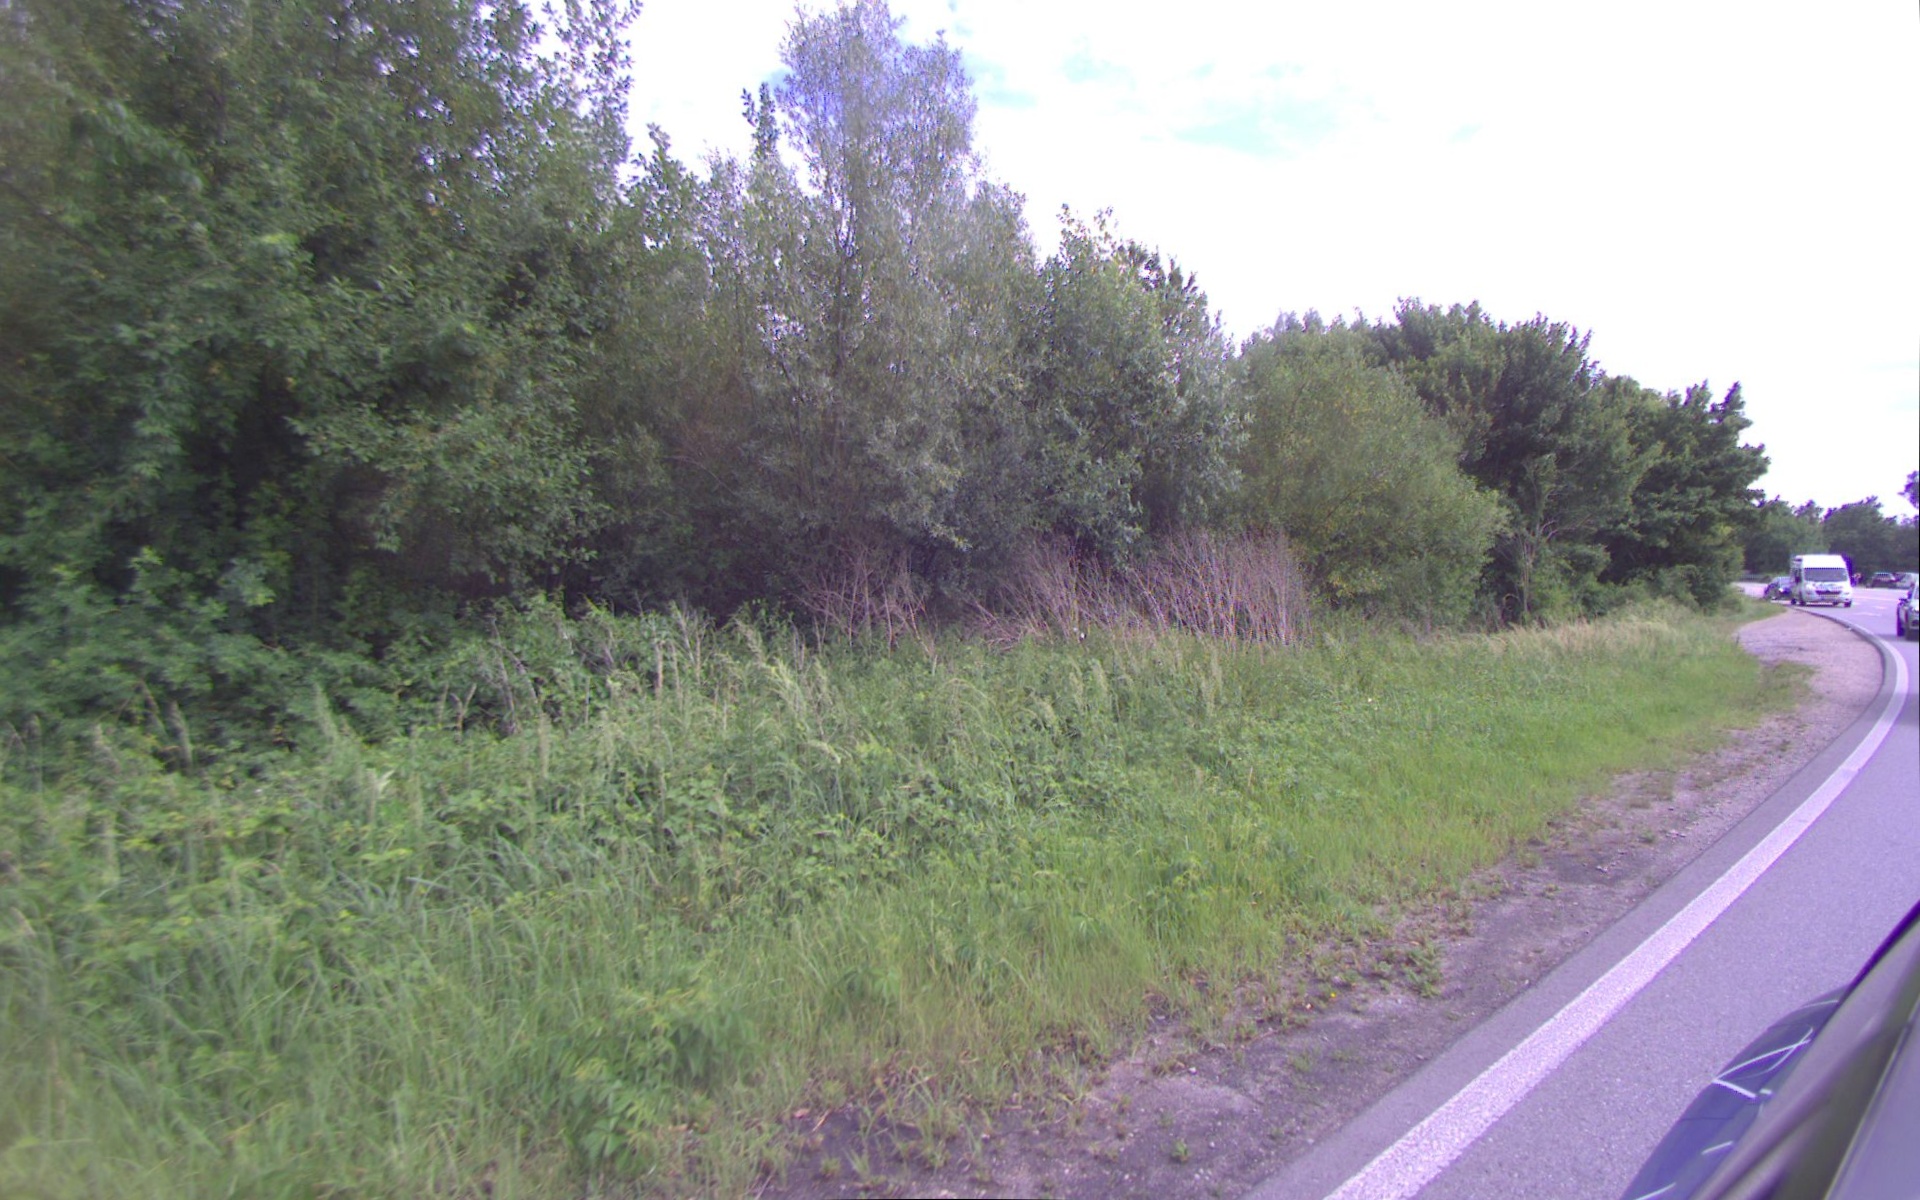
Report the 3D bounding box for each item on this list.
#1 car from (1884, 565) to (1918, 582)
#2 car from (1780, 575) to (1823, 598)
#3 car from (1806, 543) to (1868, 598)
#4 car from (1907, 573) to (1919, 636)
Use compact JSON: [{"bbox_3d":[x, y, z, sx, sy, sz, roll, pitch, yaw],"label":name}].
[{"bbox_3d":[82.830,-2.377,89.124,1.805,1.459,4.293,1,2,38],"label":"car"},{"bbox_3d":[52.995,-0.860,63.783,1.721,1.381,3.949,2,2,36],"label":"car"},{"bbox_3d":[46.191,-1.494,53.413,2.209,2.704,5.166,-2,0,39],"label":"car"},{"bbox_3d":[27.312,0.073,27.538,2.013,1.633,4.219,0,1,40],"label":"car"}]
